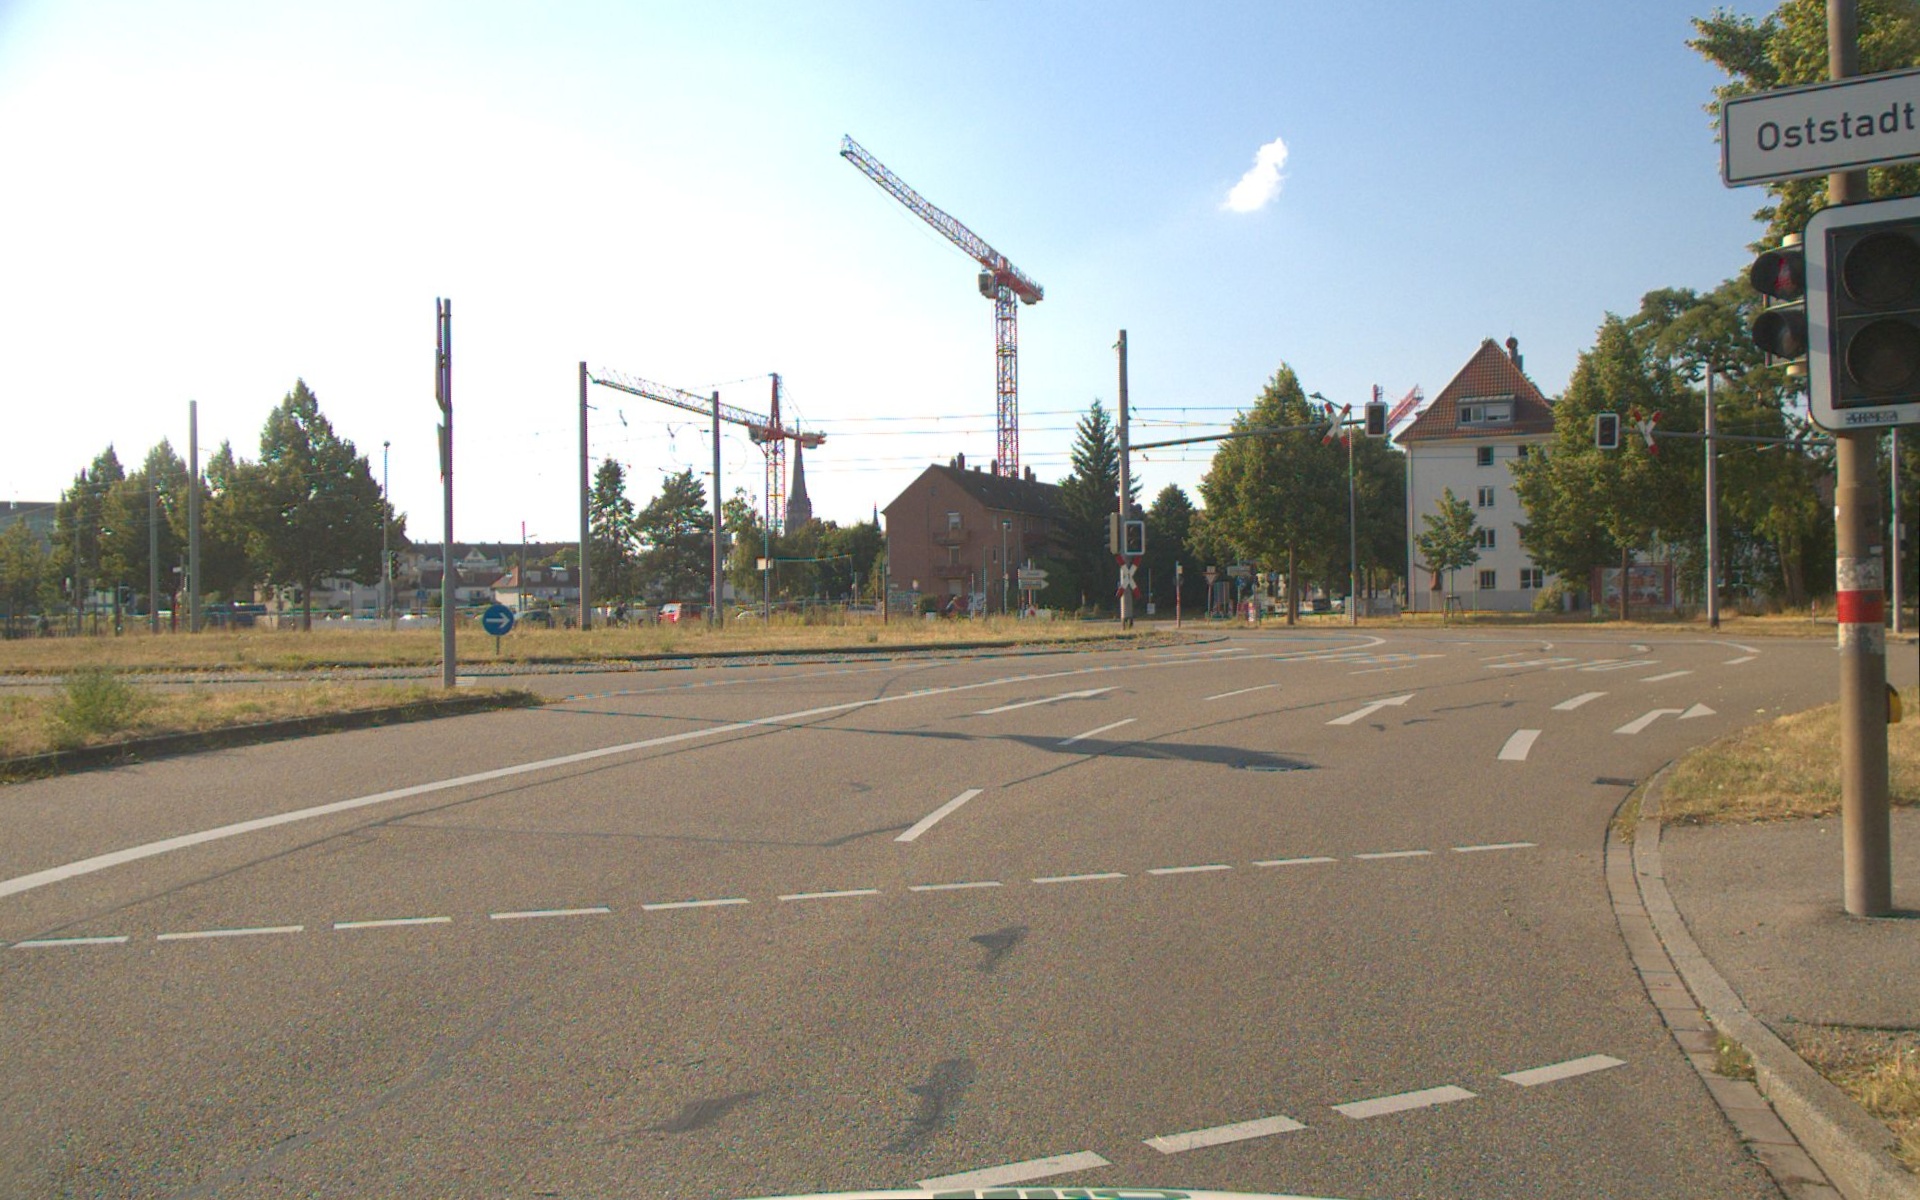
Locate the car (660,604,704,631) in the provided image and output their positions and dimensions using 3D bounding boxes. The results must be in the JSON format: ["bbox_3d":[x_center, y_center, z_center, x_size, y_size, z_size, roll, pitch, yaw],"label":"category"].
[{"bbox_3d":[-19.521,1.220,116.069,1.898,1.886,3.962,-1,0,-29],"label":"car"}]

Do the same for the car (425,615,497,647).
[{"bbox_3d":[-31.098,1.897,103.060,3.950,1.847,1.977,-1,0,-33],"label":"car"}]

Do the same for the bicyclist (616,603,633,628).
[{"bbox_3d":[-19.591,0.895,96.613,0.880,1.421,0.525,-1,0,-6],"label":"bicyclist"}]

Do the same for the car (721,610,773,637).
[{"bbox_3d":[-17.048,1.878,132.311,3.728,2.049,1.673,-1,-1,18],"label":"car"}]

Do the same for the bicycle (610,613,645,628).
[{"bbox_3d":[-19.398,1.196,96.582,1.949,0.839,0.429,-1,0,-7],"label":"bicycle"}]

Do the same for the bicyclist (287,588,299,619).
[{"bbox_3d":[-36.933,0.181,91.543,0.598,1.701,0.475,-1,-1,-22],"label":"bicyclist"}]

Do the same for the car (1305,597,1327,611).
[{"bbox_3d":[34.288,0.397,159.421,1.426,1.323,3.548,-1,0,23],"label":"car"}]

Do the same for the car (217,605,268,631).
[{"bbox_3d":[-58.542,1.444,135.009,3.917,2.049,1.994,-1,0,34],"label":"car"}]

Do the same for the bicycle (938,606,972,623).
[{"bbox_3d":[-0.287,0.846,95.713,1.949,0.934,0.429,-1,0,-7],"label":"bicycle"}]

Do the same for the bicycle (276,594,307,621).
[{"bbox_3d":[-36.994,0.416,91.518,1.517,1.499,0.476,-1,0,-21],"label":"bicycle"}]

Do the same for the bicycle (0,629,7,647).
[{"bbox_3d":[-48.466,1.925,82.389,1.605,0.875,0.537,-1,0,-42],"label":"bicycle"}]

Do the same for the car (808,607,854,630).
[{"bbox_3d":[-11.560,1.658,148.687,3.728,2.049,1.673,-1,-1,18],"label":"car"}]

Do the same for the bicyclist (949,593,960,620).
[{"bbox_3d":[-0.315,0.367,95.695,0.610,1.537,0.418,-1,0,-6],"label":"bicyclist"}]

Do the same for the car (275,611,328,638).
[{"bbox_3d":[-51.912,1.948,130.343,3.917,2.049,1.994,-1,0,34],"label":"car"}]

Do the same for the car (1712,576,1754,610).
[{"bbox_3d":[38.614,-0.328,82.608,1.737,1.646,3.964,-1,-1,27],"label":"car"}]
